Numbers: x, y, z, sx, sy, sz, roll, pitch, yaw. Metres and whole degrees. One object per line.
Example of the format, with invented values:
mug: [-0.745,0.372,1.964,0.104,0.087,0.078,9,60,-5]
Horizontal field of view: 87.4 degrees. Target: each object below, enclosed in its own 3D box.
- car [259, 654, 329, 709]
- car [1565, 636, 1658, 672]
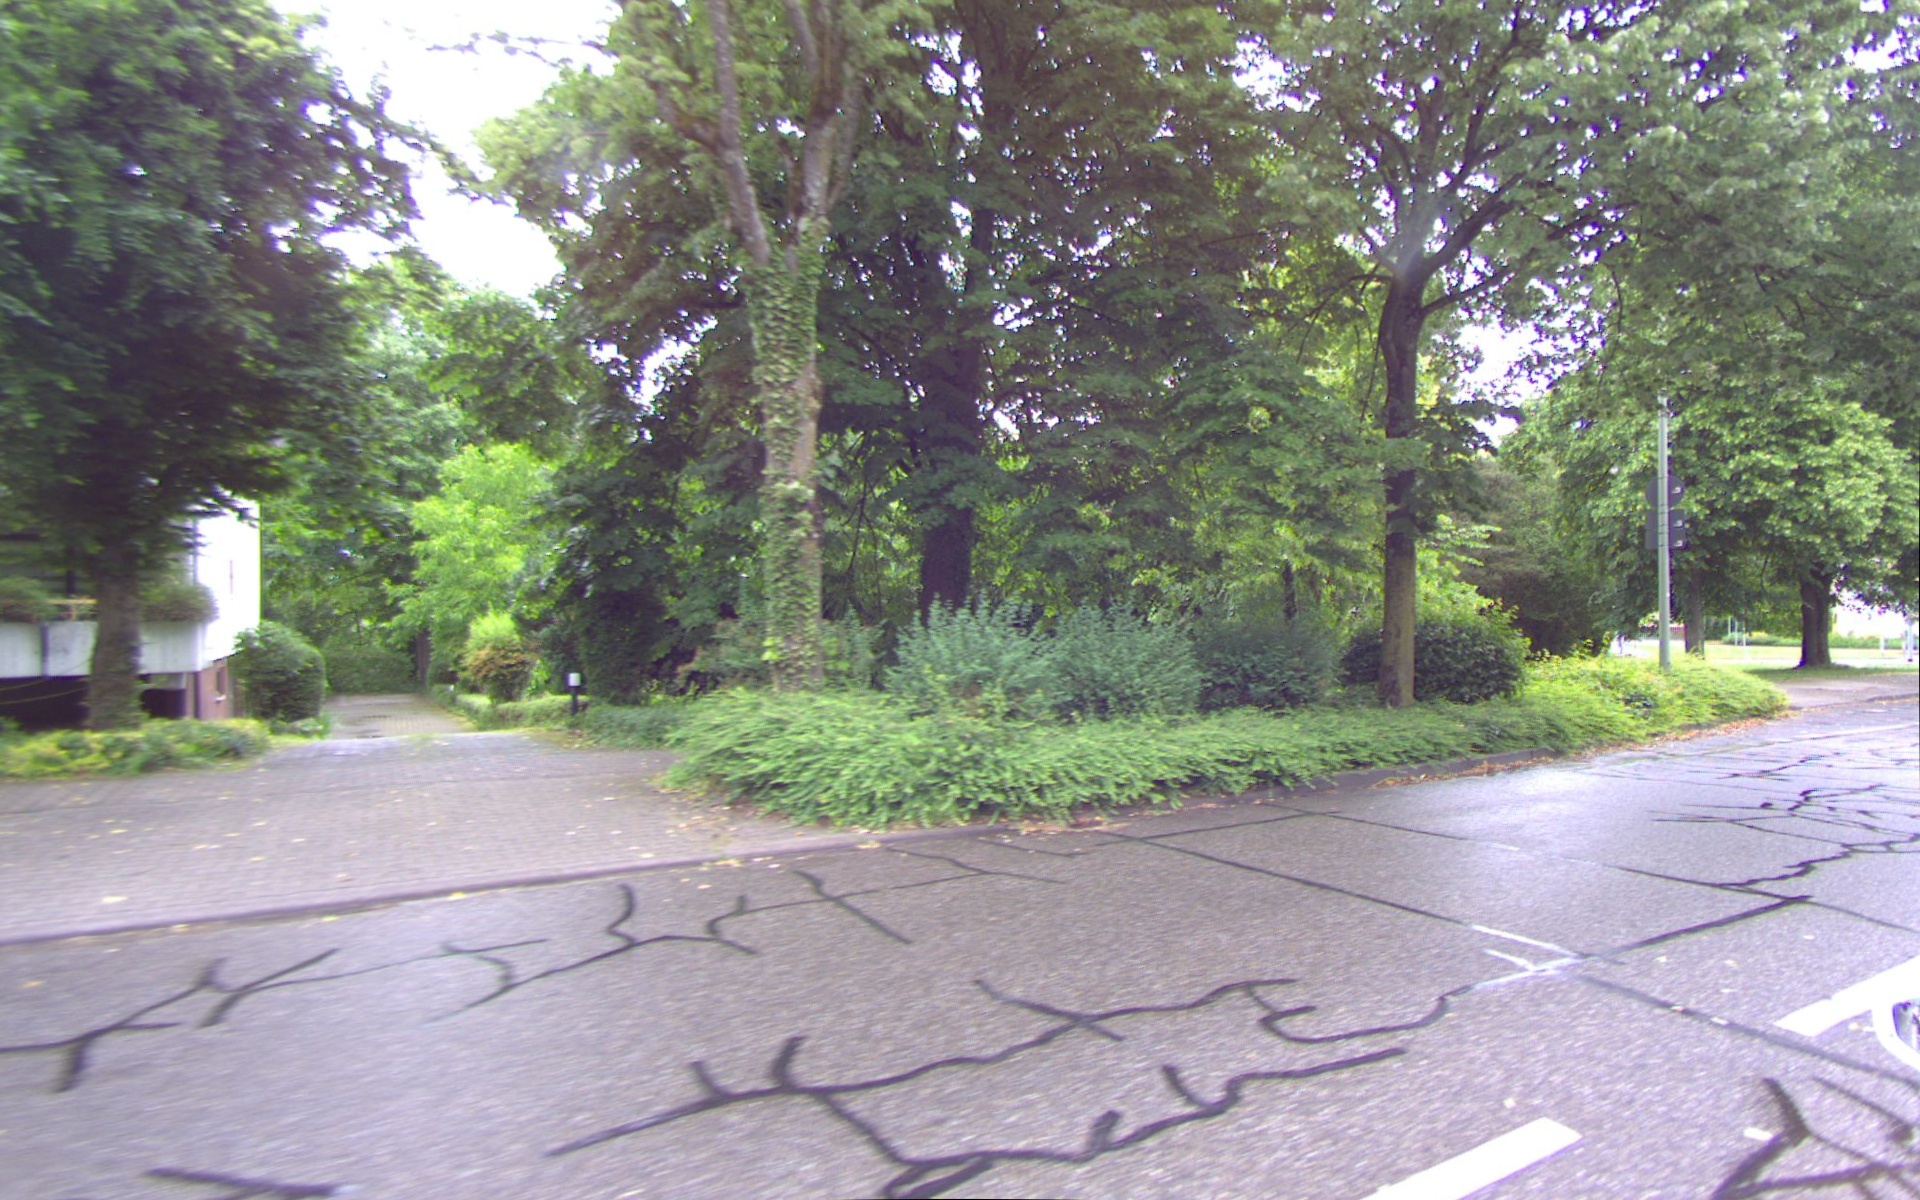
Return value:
car: [-25.668,3.085,38.669,1.810,1.740,3.954,2,0,-39]
car: [36.539,2.986,56.367,1.984,1.706,3.985,1,1,-40]
